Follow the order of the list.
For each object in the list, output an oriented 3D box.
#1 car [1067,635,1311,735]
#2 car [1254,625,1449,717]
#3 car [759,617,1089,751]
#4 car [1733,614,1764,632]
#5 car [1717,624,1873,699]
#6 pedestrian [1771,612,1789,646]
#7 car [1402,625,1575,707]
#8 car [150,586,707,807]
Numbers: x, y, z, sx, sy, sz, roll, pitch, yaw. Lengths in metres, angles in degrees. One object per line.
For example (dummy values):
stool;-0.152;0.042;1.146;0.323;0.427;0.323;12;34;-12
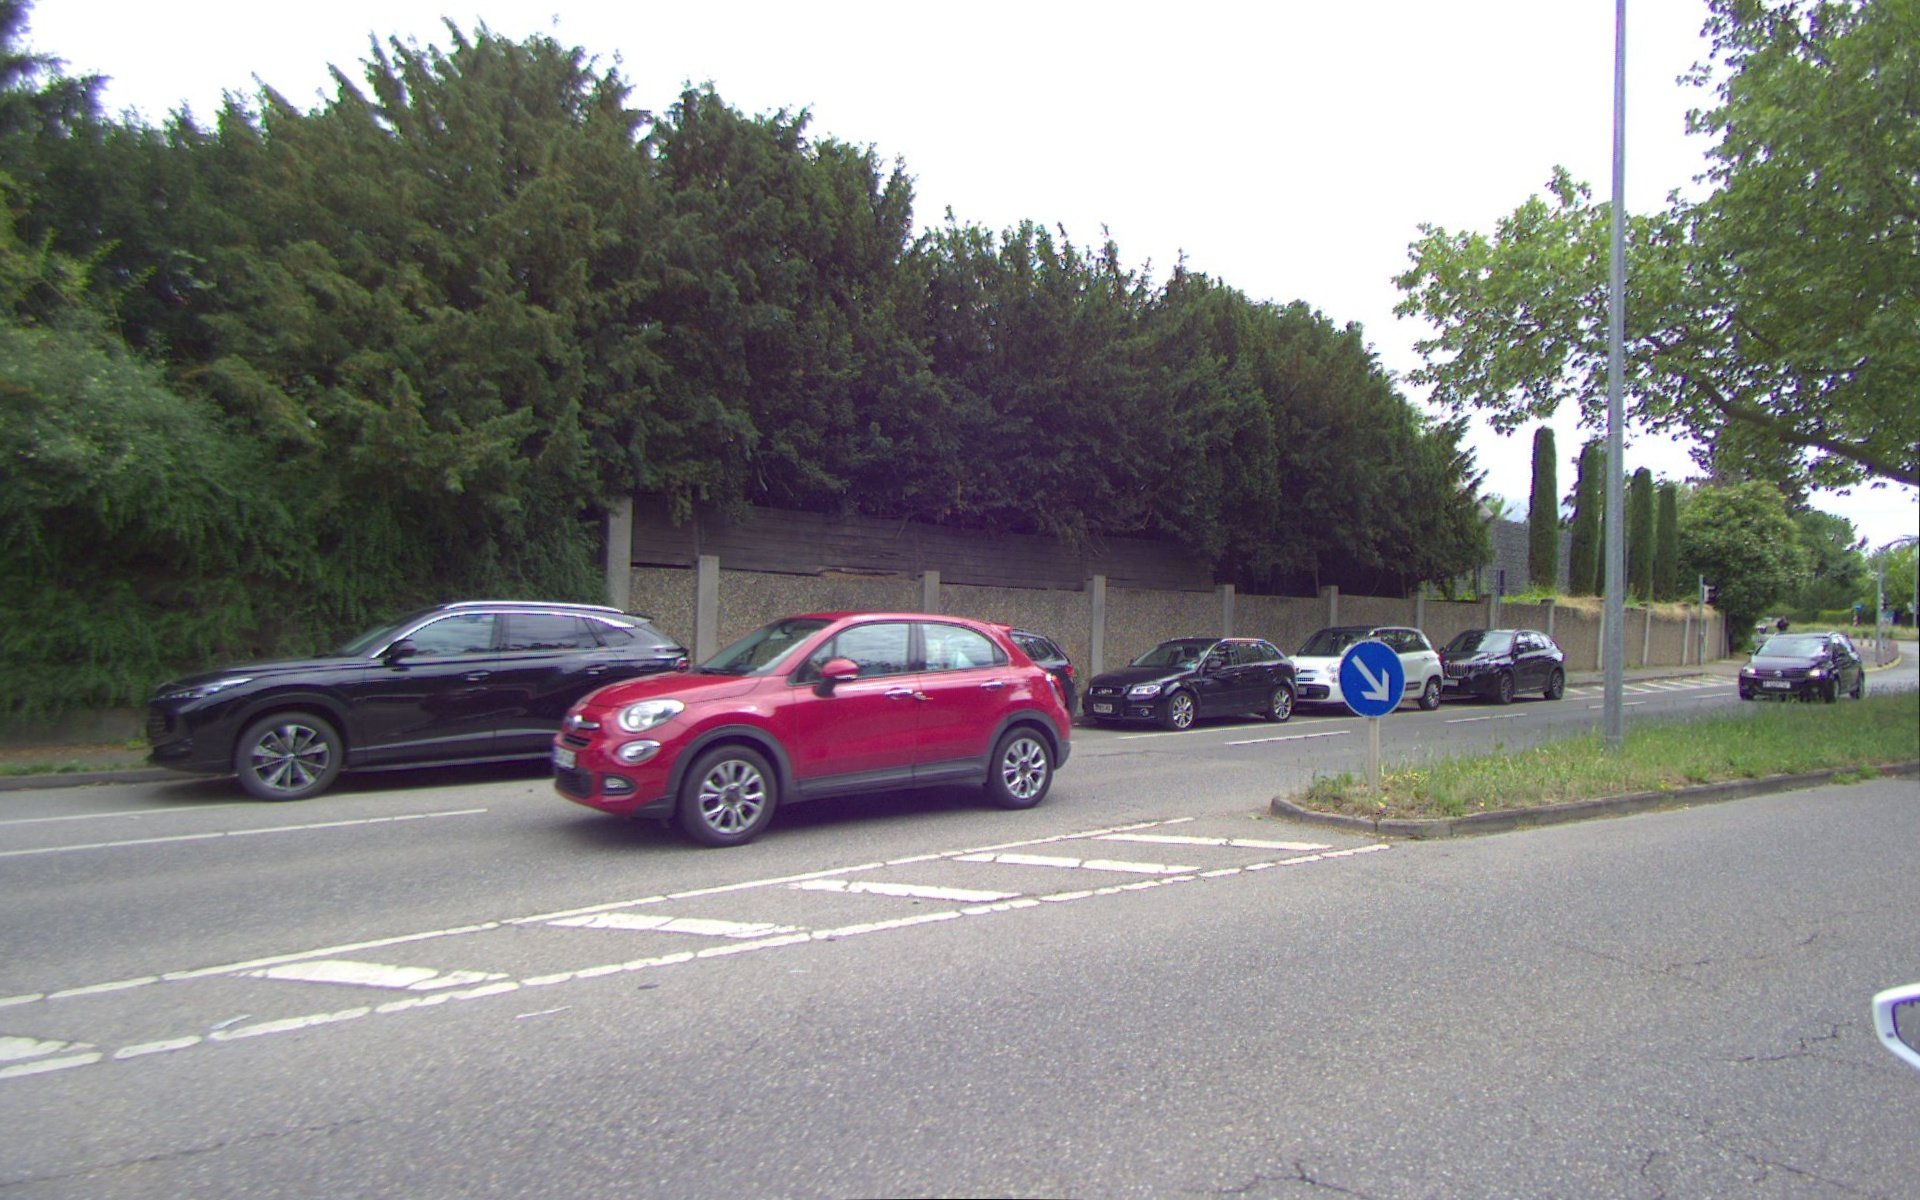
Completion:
car;3.858;1.342;16.589;4.183;1.419;1.636;3;-1;-37
car;7.657;1.335;19.514;4.058;1.613;1.661;2;-3;-37
car;-0.404;1.058;13.481;4.065;1.531;1.933;3;-3;-37
car;79.228;2.339;100.962;1.861;1.646;4.422;1;-1;31
car;19.831;1.423;23.823;3.960;1.608;1.984;3;-2;-37
pedestrian;50.635;1.782;62.008;0.731;2.041;0.629;3;3;44
car;12.038;1.455;22.787;4.392;1.646;1.873;3;-1;-39
car;-4.954;0.821;9.748;4.427;1.664;1.978;3;-2;-38
